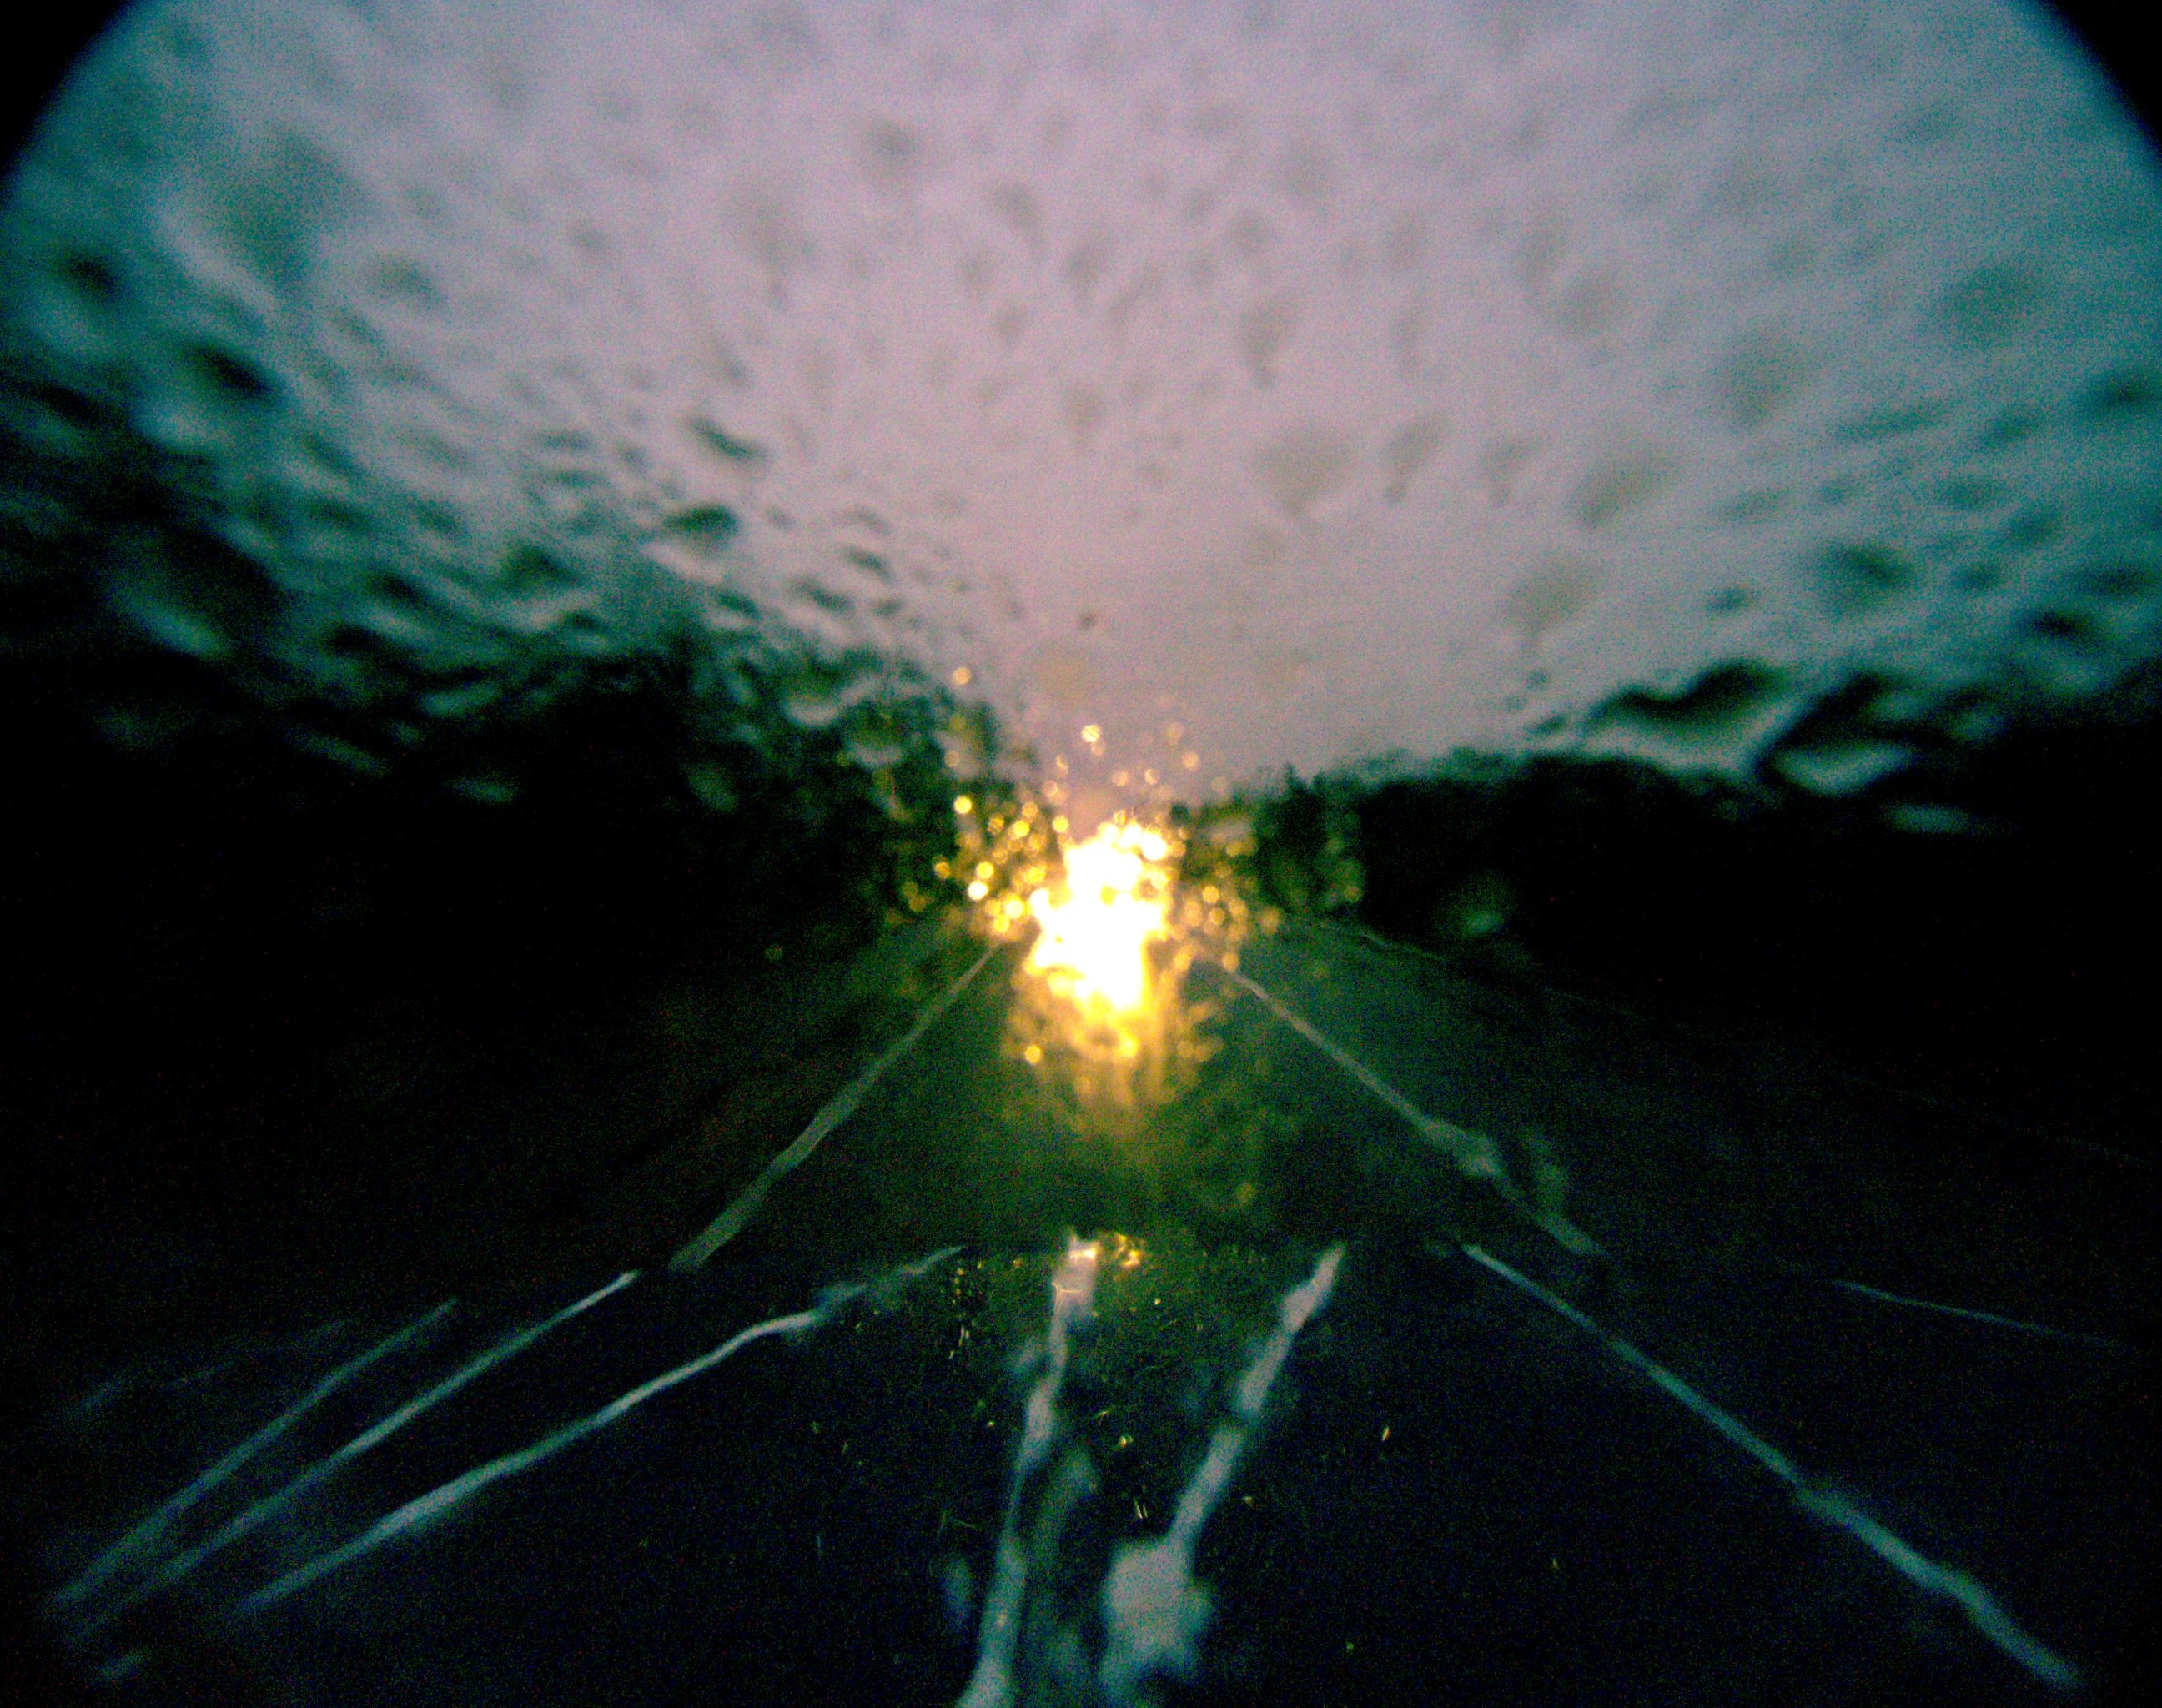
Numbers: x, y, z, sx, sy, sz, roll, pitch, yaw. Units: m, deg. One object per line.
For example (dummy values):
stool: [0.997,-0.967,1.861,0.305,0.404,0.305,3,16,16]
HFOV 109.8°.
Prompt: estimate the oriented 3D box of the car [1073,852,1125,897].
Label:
car: [0.682,0.756,29.766,1.860,1.604,4.000,-1,0,1]

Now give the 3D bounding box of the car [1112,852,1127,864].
car: [4.902,0.549,96.717,1.636,1.449,3.982,1,0,0]

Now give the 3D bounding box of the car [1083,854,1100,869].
car: [1.239,0.869,92.289,1.998,1.612,4.000,-2,1,1]
